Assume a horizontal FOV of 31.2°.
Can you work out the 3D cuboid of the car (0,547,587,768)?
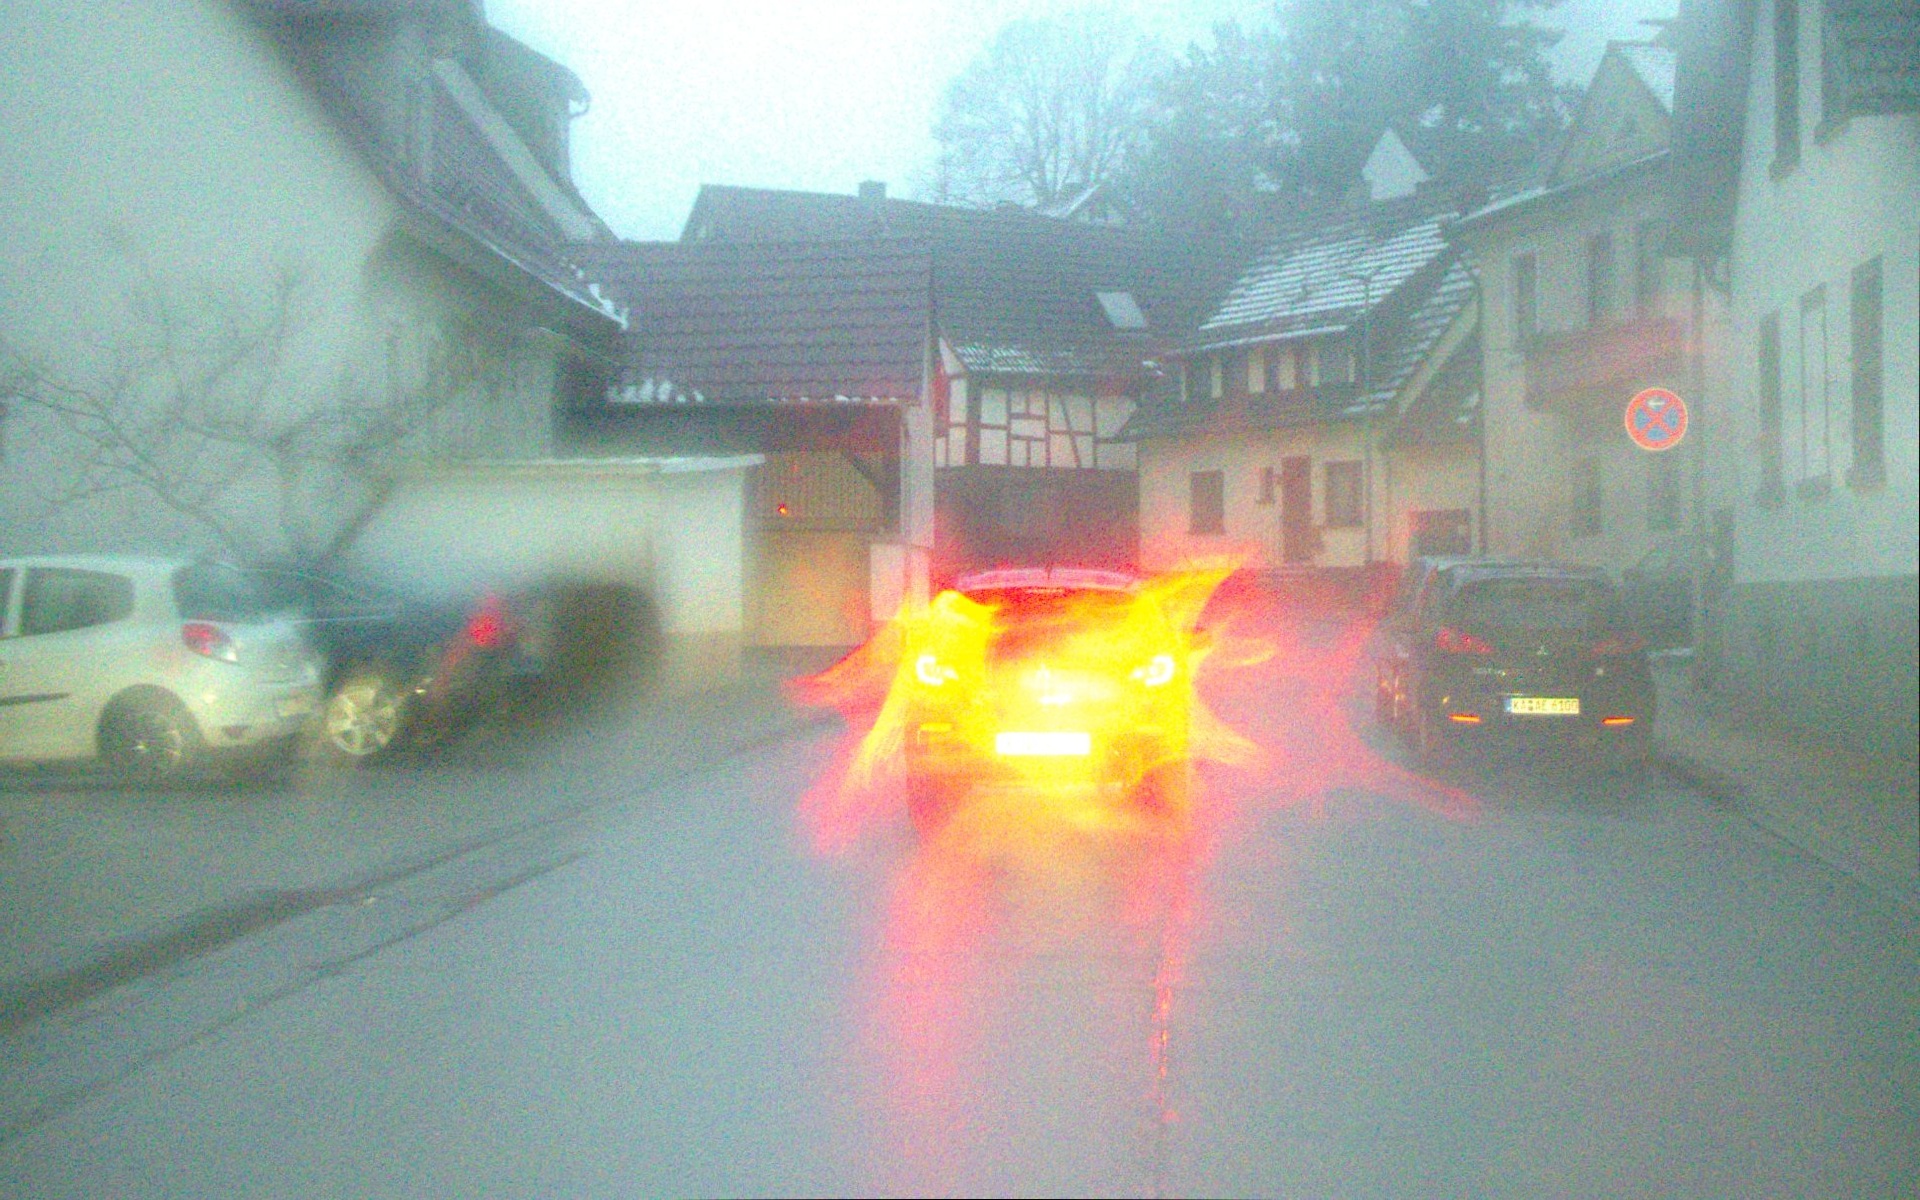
[{"bbox_3d":[-5.152,0.396,24.597,4.594,1.465,2.000,-1,1,6],"label":"car"}]

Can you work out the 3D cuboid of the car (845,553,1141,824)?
[{"bbox_3d":[0.276,0.459,20.722,1.546,1.461,3.698,1,1,4],"label":"car"}]

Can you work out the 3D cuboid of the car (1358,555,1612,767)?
[{"bbox_3d":[3.926,0.402,26.216,1.638,1.466,3.999,1,1,5],"label":"car"}]

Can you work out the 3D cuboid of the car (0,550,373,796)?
[{"bbox_3d":[-6.273,0.456,21.915,4.605,1.465,1.891,-1,1,10],"label":"car"}]

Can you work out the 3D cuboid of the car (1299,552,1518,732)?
[{"bbox_3d":[3.975,0.323,30.969,1.638,1.489,4.000,1,1,3],"label":"car"}]
